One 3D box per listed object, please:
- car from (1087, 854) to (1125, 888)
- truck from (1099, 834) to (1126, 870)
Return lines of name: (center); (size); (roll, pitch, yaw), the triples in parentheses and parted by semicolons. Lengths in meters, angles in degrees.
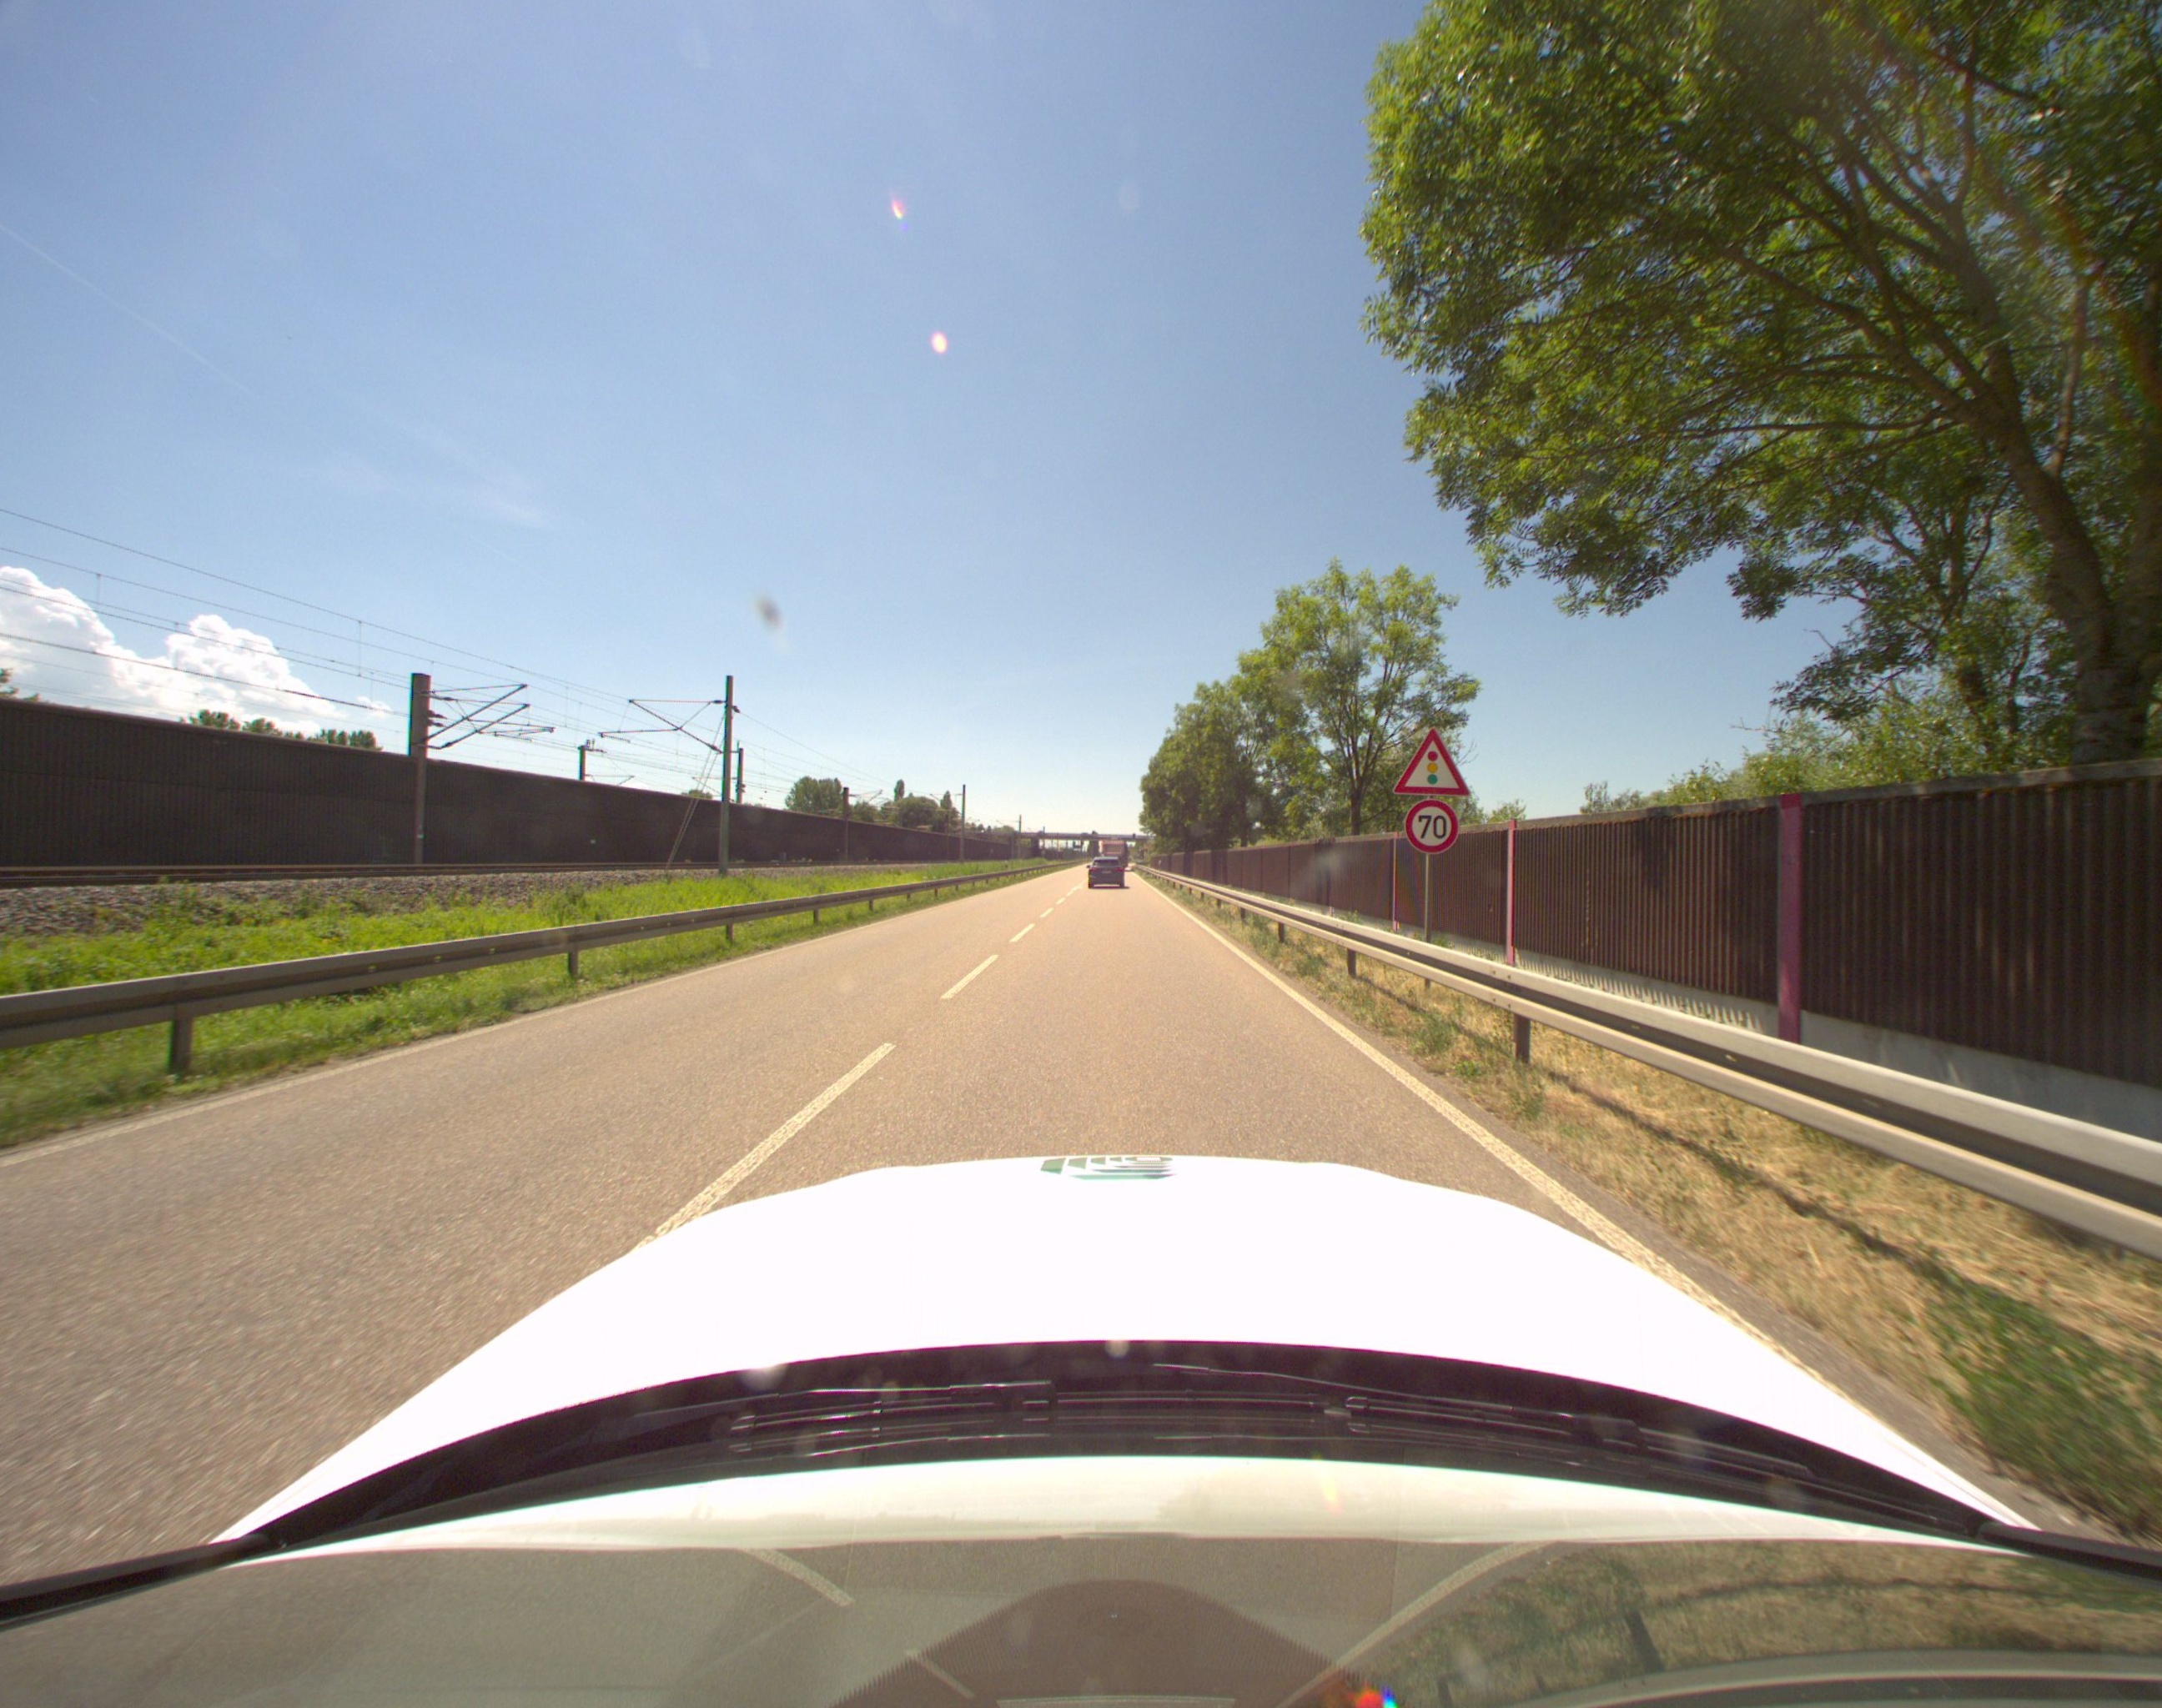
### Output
car: (1.327, 0.840, 41.477); (1.837, 1.623, 4.229); (0, 0, 3)
truck: (3.599, -0.183, 92.751); (2.822, 3.821, 11.891); (0, 0, 2)
